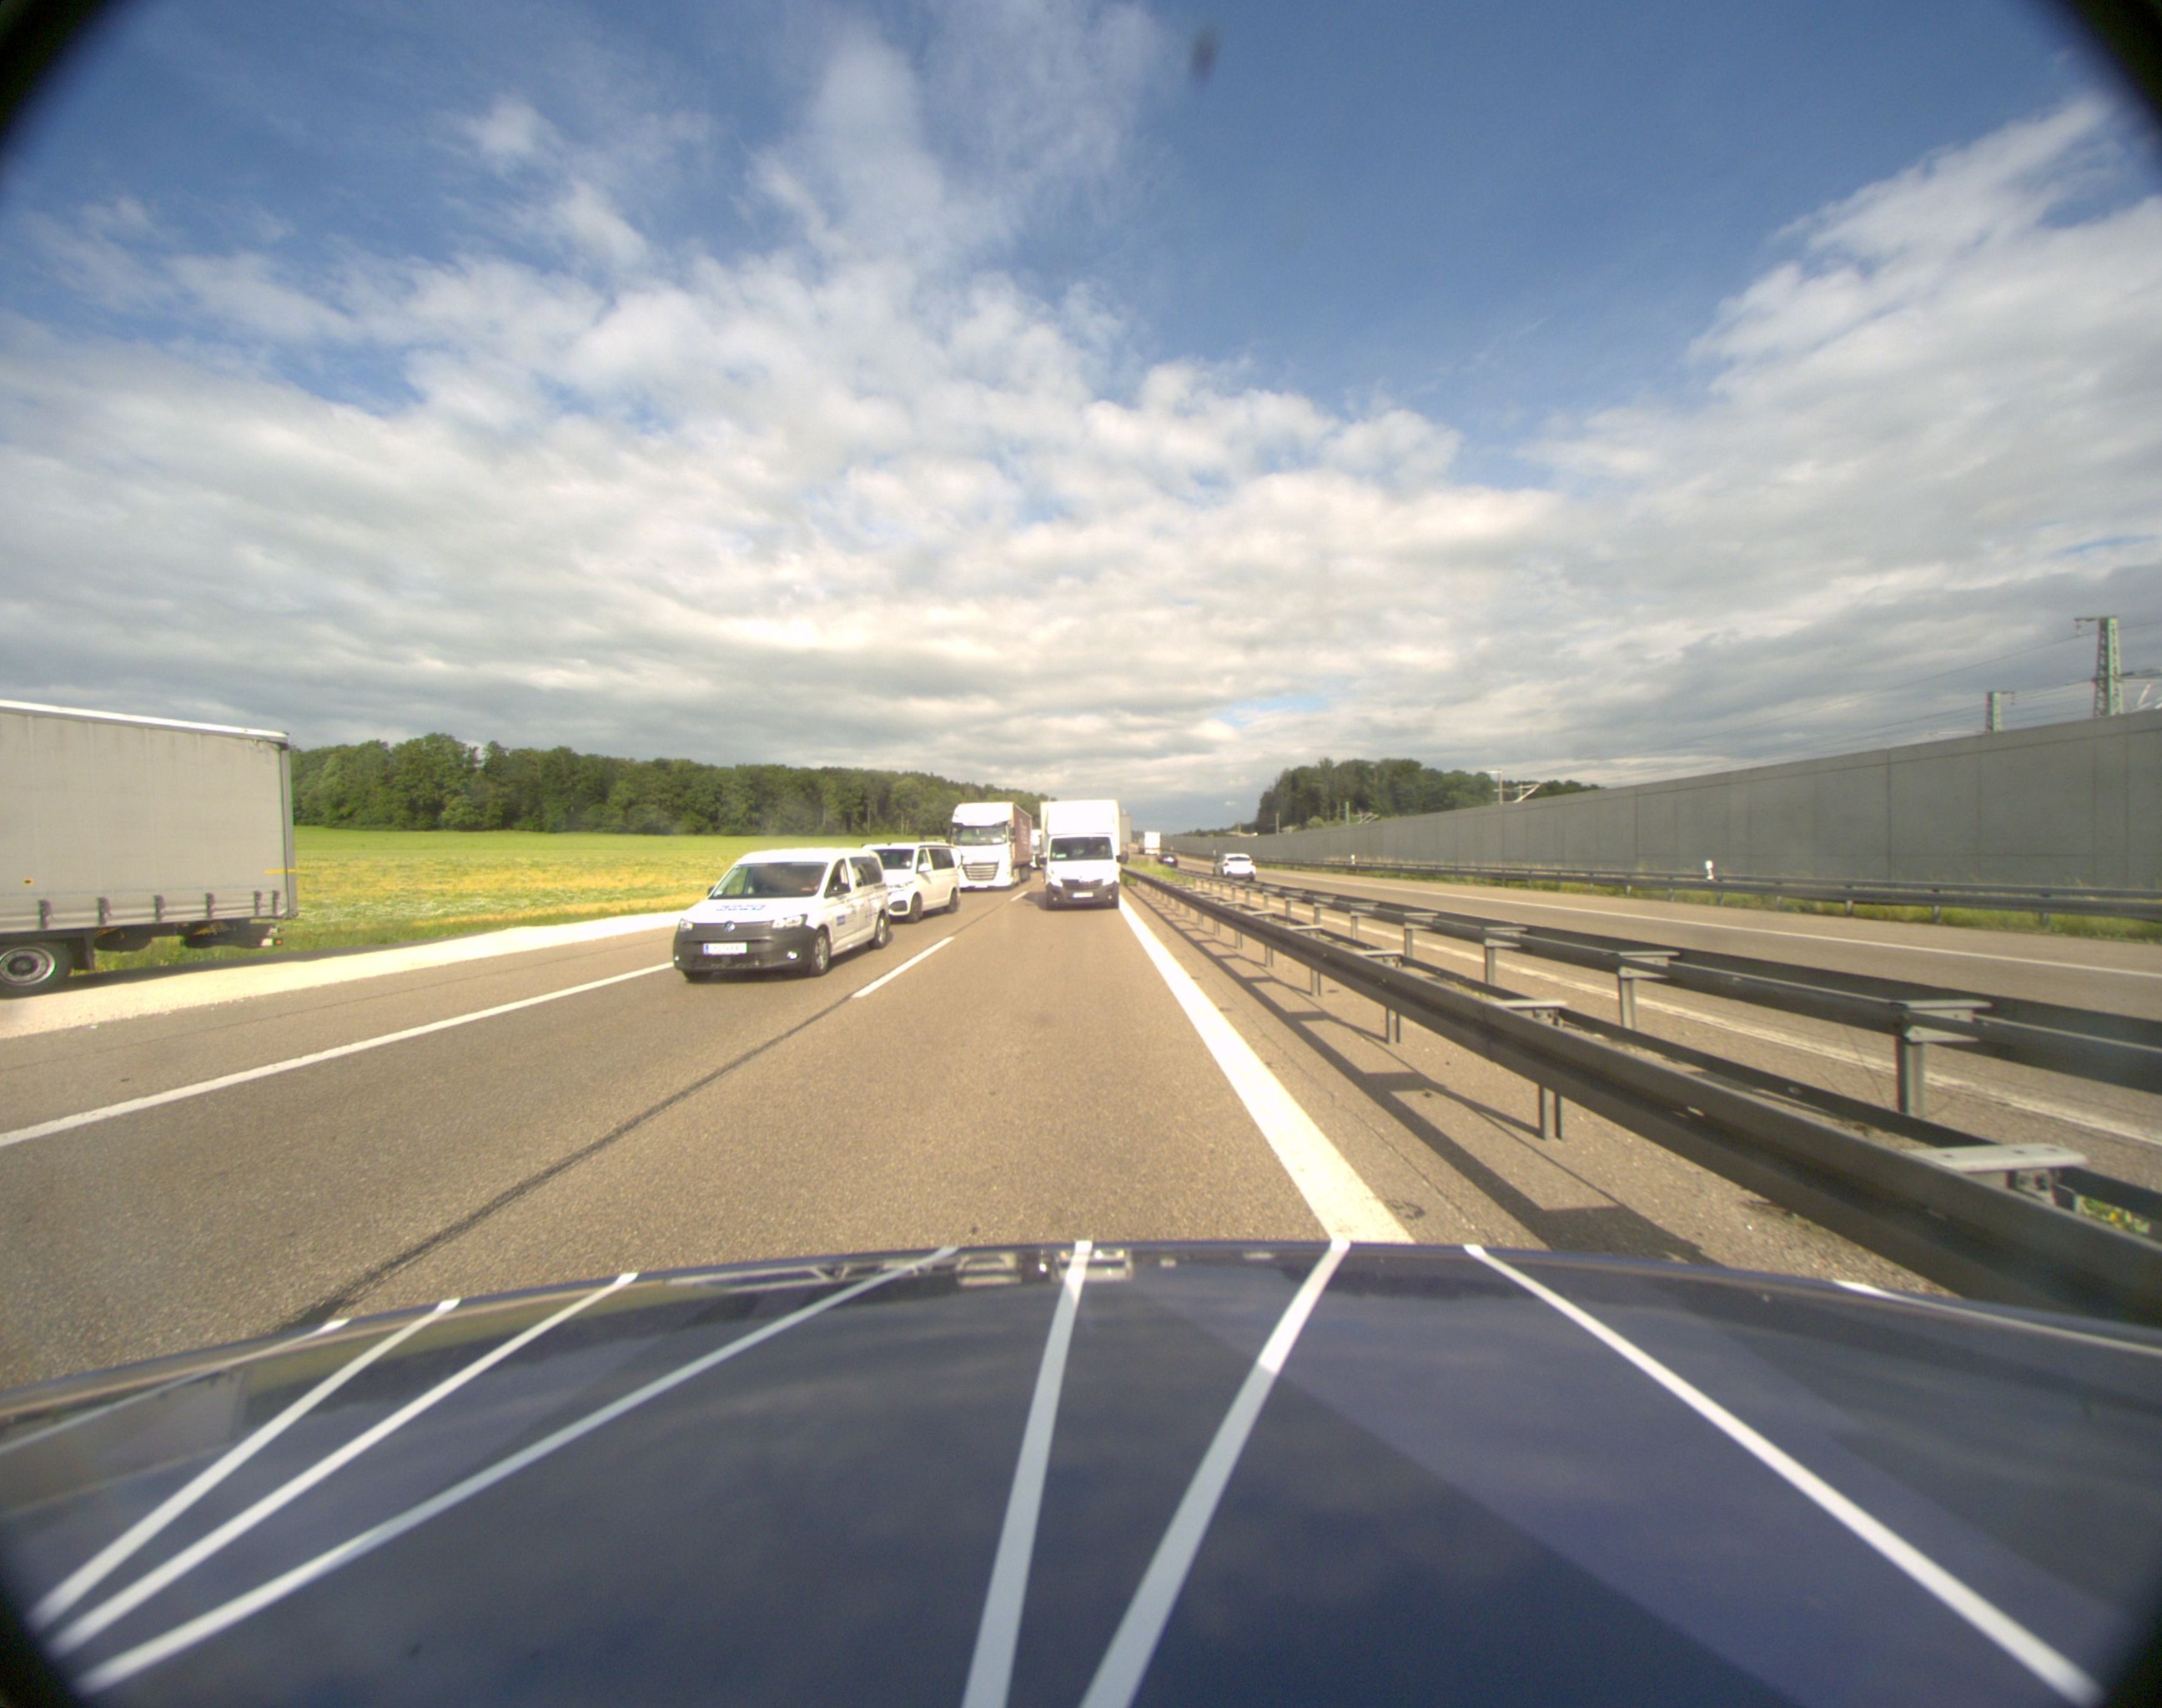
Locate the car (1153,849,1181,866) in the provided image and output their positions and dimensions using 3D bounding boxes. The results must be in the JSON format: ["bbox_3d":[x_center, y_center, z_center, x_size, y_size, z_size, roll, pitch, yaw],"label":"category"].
[{"bbox_3d":[8.026,0.319,71.158,1.809,1.454,4.448,-1,0,-4],"label":"car"}]

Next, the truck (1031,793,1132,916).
[{"bbox_3d":[0.021,-0.003,25.619,2.500,3.082,12.037,-2,0,0],"label":"truck"}]

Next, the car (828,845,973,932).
[{"bbox_3d":[-4.501,0.760,19.902,1.798,1.914,5.270,-2,0,8],"label":"car"}]

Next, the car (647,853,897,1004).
[{"bbox_3d":[-4.285,0.892,11.489,1.729,1.746,4.702,-2,0,1],"label":"car"}]

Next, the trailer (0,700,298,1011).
[{"bbox_3d":[-16.678,0.093,6.736,2.739,4.136,13.843,-2,0,15],"label":"trailer"}]

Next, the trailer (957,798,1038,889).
[{"bbox_3d":[-4.259,-0.607,42.226,2.742,4.136,14.016,-2,1,0],"label":"trailer"}]

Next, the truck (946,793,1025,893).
[{"bbox_3d":[-4.283,-0.503,35.176,2.736,4.150,5.766,-2,1,0],"label":"truck"}]

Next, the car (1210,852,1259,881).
[{"bbox_3d":[8.295,0.641,41.455,1.721,1.454,4.449,-1,0,-1],"label":"car"}]

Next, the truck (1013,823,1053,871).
[{"bbox_3d":[-4.351,-0.605,72.002,2.946,4.094,12.523,-1,0,0],"label":"truck"}]

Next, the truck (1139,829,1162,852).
[{"bbox_3d":[12.601,-2.405,139.297,2.952,4.037,11.745,-2,1,0],"label":"truck"}]
